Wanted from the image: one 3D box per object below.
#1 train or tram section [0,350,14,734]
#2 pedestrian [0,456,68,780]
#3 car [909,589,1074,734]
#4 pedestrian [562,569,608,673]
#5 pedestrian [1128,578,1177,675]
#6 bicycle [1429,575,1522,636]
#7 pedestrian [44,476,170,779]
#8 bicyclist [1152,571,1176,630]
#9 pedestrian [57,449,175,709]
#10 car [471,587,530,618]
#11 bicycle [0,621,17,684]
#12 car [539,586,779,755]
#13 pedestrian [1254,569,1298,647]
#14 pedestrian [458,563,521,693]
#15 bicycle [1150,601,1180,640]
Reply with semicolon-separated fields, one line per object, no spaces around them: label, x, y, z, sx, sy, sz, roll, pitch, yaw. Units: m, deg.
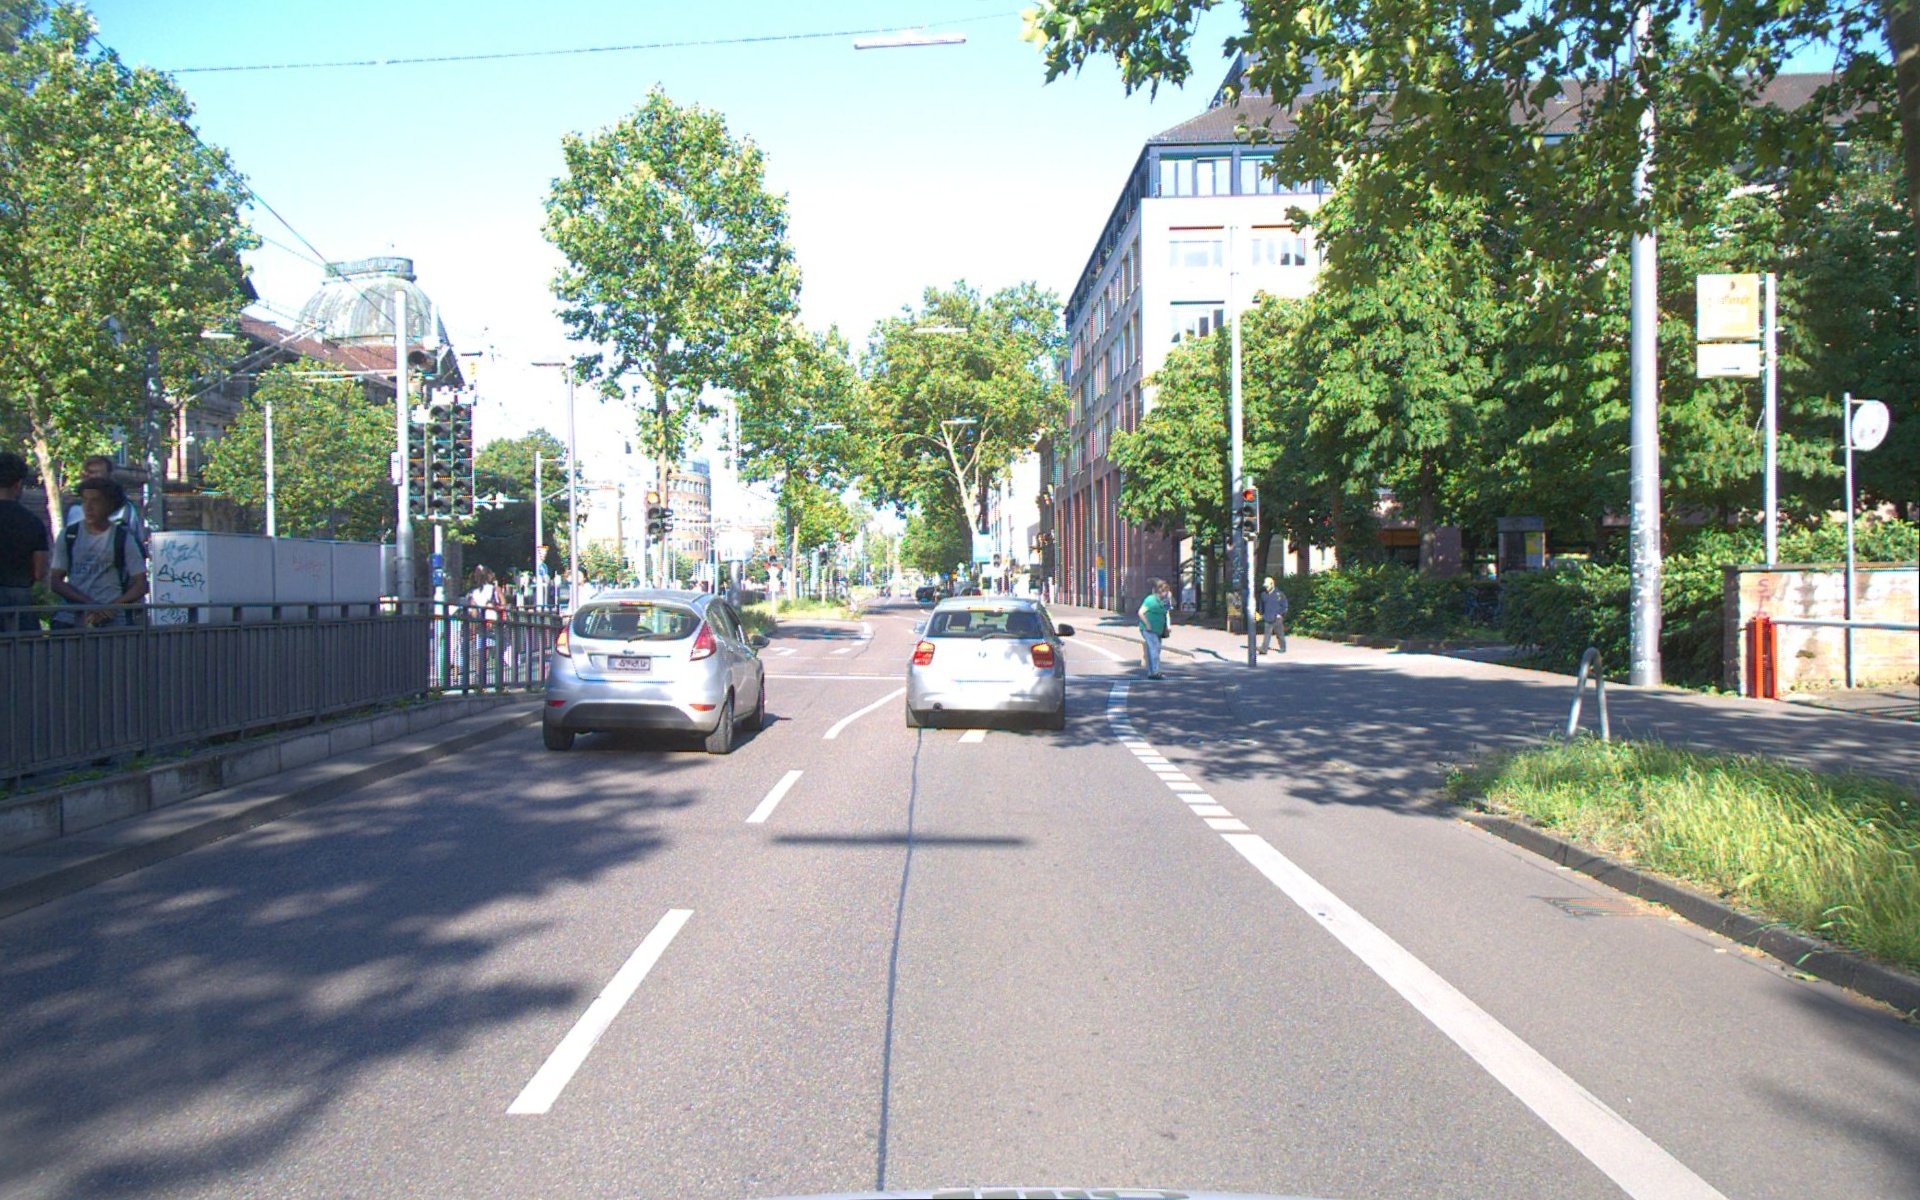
train or tram section;-9.615;-0.579;7.841;2.855;3.317;13.109;1;-1;-1
pedestrian;-5.348;0.098;9.233;0.539;1.764;0.537;-1;0;-19
car;0.438;0.631;19.144;1.694;1.414;3.842;1;1;3
pedestrian;-6.056;0.343;26.748;0.627;1.648;0.640;-1;-2;-5
pedestrian;3.239;0.437;27.788;0.812;1.603;0.739;0;0;7
bicycle;12.063;0.124;38.697;1.955;1.337;0.574;-2;0;2
pedestrian;-5.171;0.155;10.027;0.545;1.764;0.532;-1;0;-41
bicyclist;6.001;0.014;48.650;0.644;1.686;0.765;-1;0;8
pedestrian;-5.886;-0.145;11.558;0.537;1.764;0.539;-1;0;-5
car;-25.156;0.115;90.640;1.952;1.653;4.001;0;0;2
bicycle;-15.878;0.811;26.131;1.530;0.980;0.650;1;-1;-1
car;-2.784;0.603;16.044;1.626;1.434;3.632;1;0;0
pedestrian;6.792;0.173;35.565;0.615;1.657;0.941;0;0;33
pedestrian;-5.836;0.340;20.539;0.618;1.584;0.646;-1;0;-5
bicycle;6.050;0.593;48.741;0.814;1.059;1.876;-1;0;8
